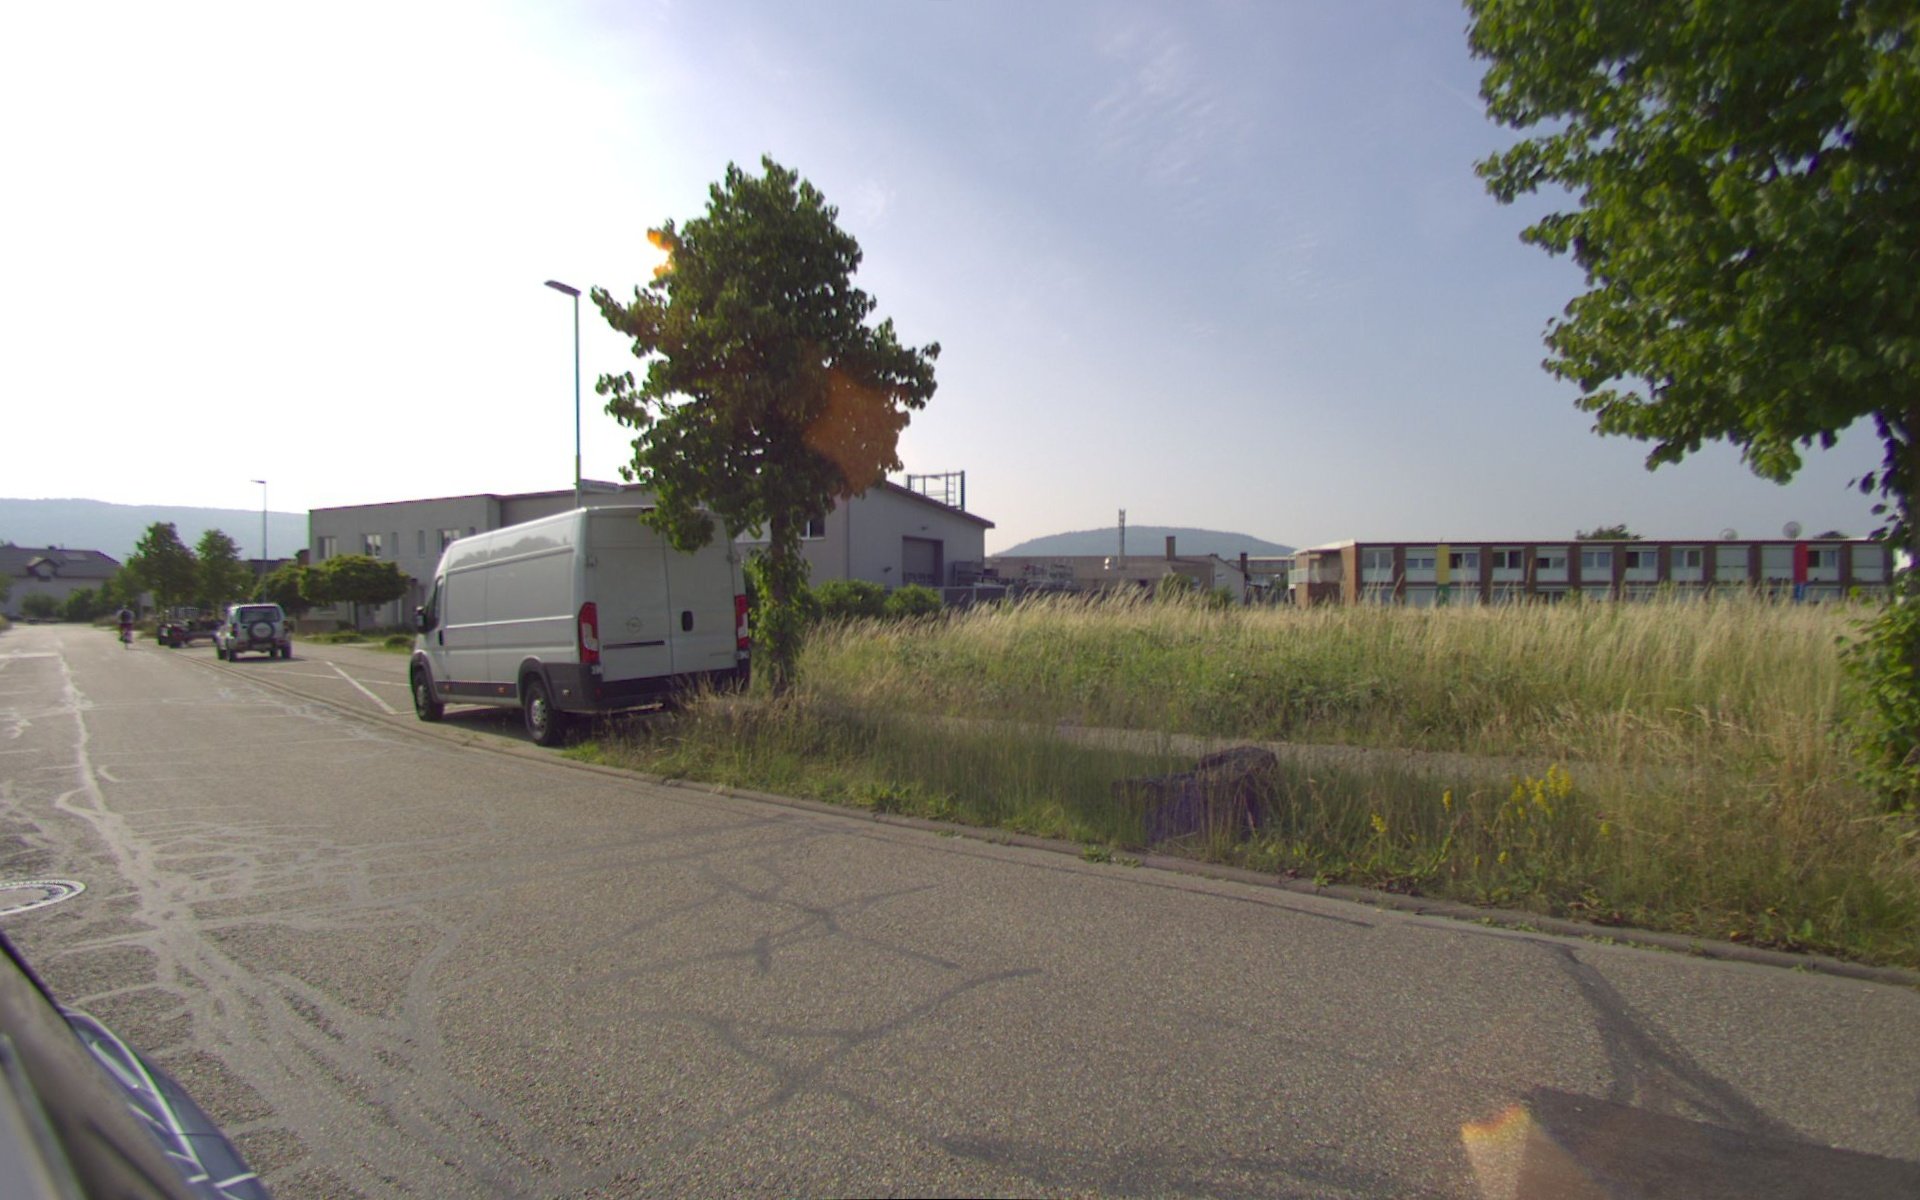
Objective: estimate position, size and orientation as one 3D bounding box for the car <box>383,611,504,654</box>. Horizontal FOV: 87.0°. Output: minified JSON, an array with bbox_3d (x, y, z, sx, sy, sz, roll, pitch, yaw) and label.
[{"bbox_3d":[-19.318,1.199,37.838,4.404,1.487,1.962,-1,0,30],"label":"car"}]

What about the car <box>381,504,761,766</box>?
[{"bbox_3d":[-5.335,0.361,13.133,6.507,2.614,2.078,-1,1,45],"label":"car"}]

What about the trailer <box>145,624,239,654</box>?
[{"bbox_3d":[-34.698,1.678,45.560,2.515,1.082,9.742,-2,1,-42],"label":"trailer"}]

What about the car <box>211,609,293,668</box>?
[{"bbox_3d":[-21.835,1.142,31.155,1.578,1.663,3.648,-2,0,-42],"label":"car"}]

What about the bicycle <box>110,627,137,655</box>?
[{"bbox_3d":[-34.663,1.697,41.933,0.707,1.131,2.222,3,-3,-42],"label":"bicycle"}]

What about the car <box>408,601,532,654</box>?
[{"bbox_3d":[-15.879,0.871,32.751,3.802,1.583,1.820,-1,1,31],"label":"car"}]

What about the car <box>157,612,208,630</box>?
[{"bbox_3d":[-77.855,2.063,101.387,3.938,1.741,2.003,0,-1,-42],"label":"car"}]

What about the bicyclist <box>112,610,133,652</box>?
[{"bbox_3d":[-34.836,1.276,42.105,0.631,1.732,1.167,0,-1,-42],"label":"bicyclist"}]

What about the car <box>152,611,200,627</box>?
[{"bbox_3d":[-92.389,2.211,119.293,1.989,1.807,3.965,-1,0,26],"label":"car"}]
